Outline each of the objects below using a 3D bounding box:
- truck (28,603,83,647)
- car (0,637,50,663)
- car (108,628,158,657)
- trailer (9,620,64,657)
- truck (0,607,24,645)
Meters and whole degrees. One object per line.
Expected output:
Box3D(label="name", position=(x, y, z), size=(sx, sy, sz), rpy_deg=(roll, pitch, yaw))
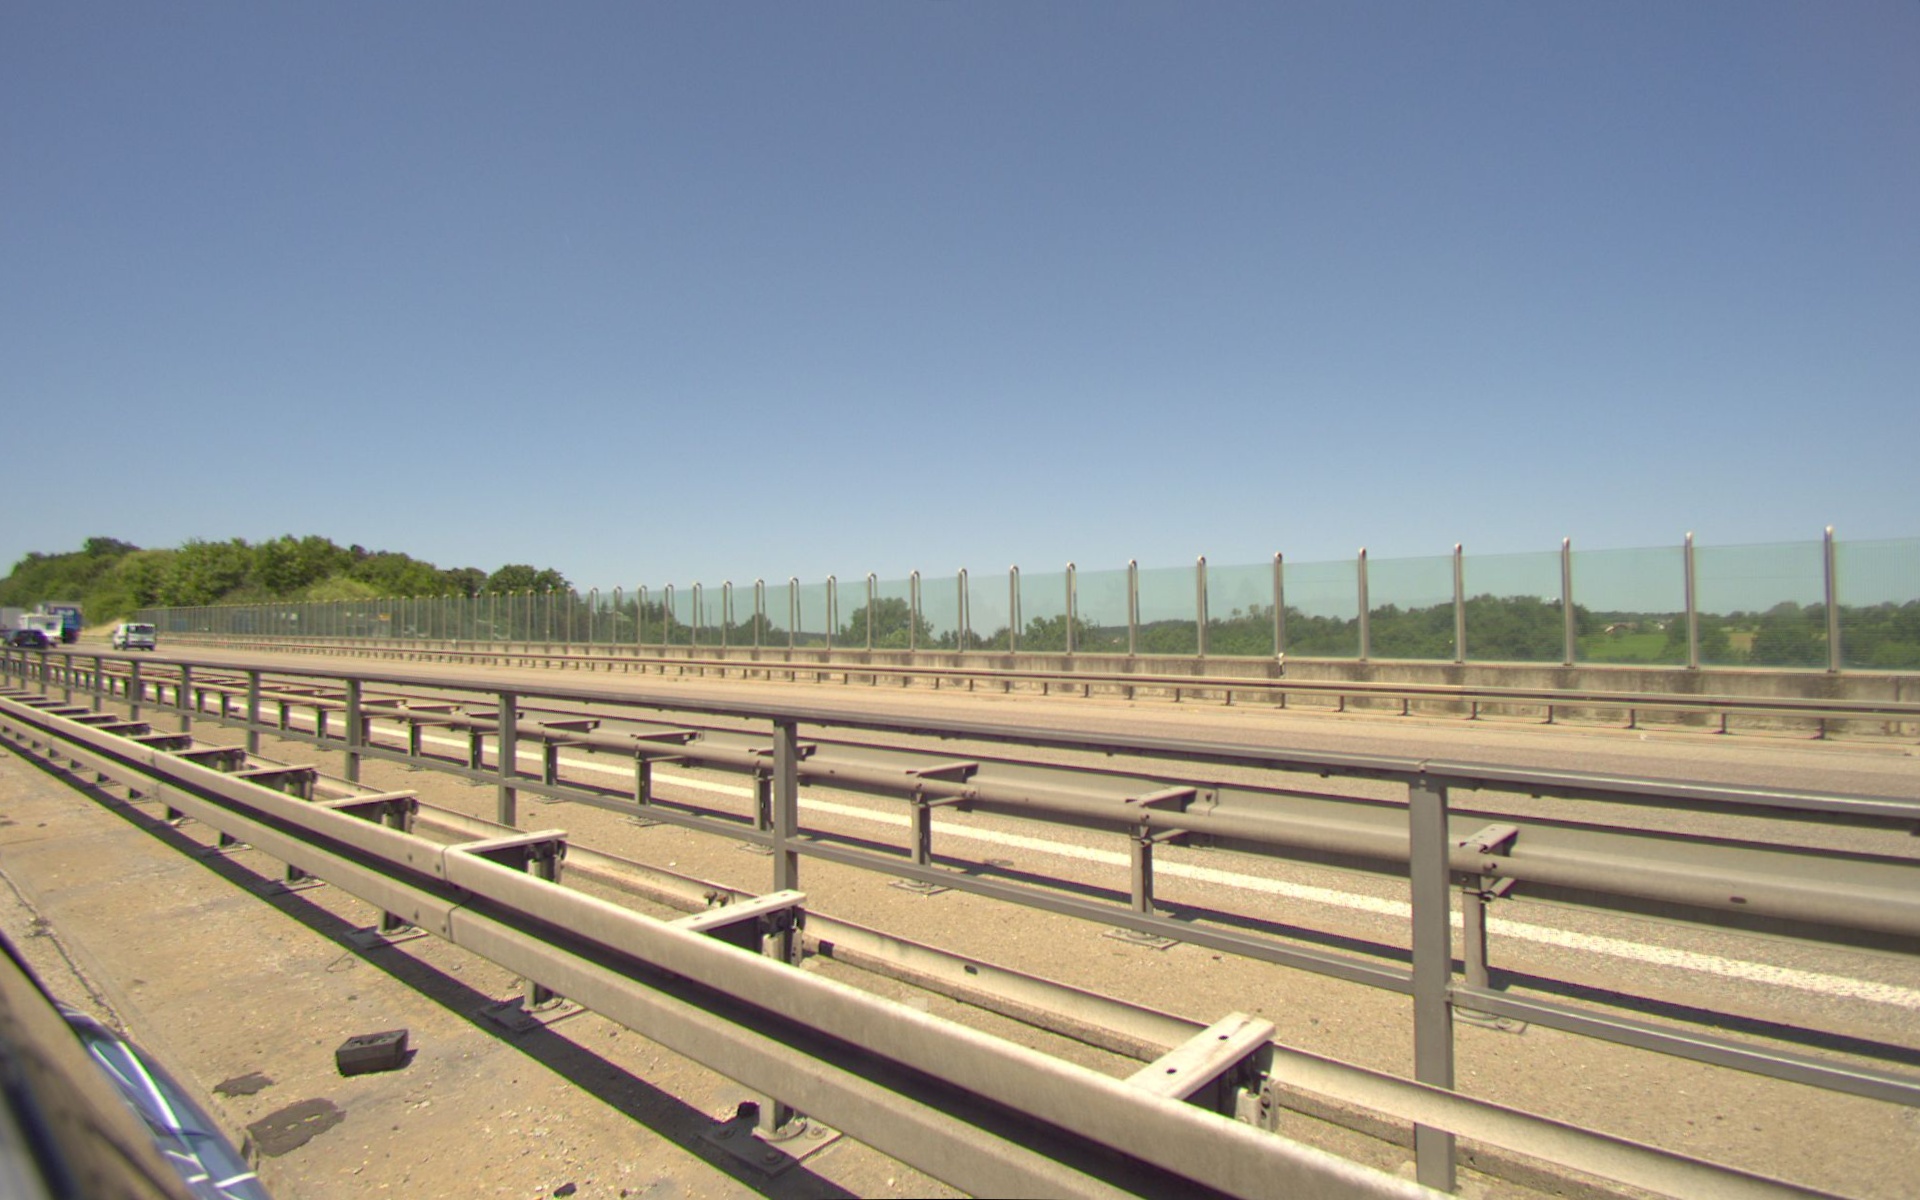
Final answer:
Box3D(label="truck", position=(-89.655, 2.541, 100.258), size=(9.985, 4.117, 2.839), rpy_deg=(-1, -4, 42))
Box3D(label="car", position=(-53.344, 2.838, 57.600), size=(4.264, 1.430, 1.749), rpy_deg=(-2, -3, 41))
Box3D(label="car", position=(-61.202, 3.158, 74.889), size=(4.487, 1.999, 2.013), rpy_deg=(-2, -5, 41))
Box3D(label="trailer", position=(-72.105, 3.021, 78.961), size=(6.357, 2.727, 2.292), rpy_deg=(-2, -4, 41))
Box3D(label="truck", position=(-122.280, 3.331, 129.314), size=(9.985, 4.575, 2.839), rpy_deg=(-2, -4, 42))
